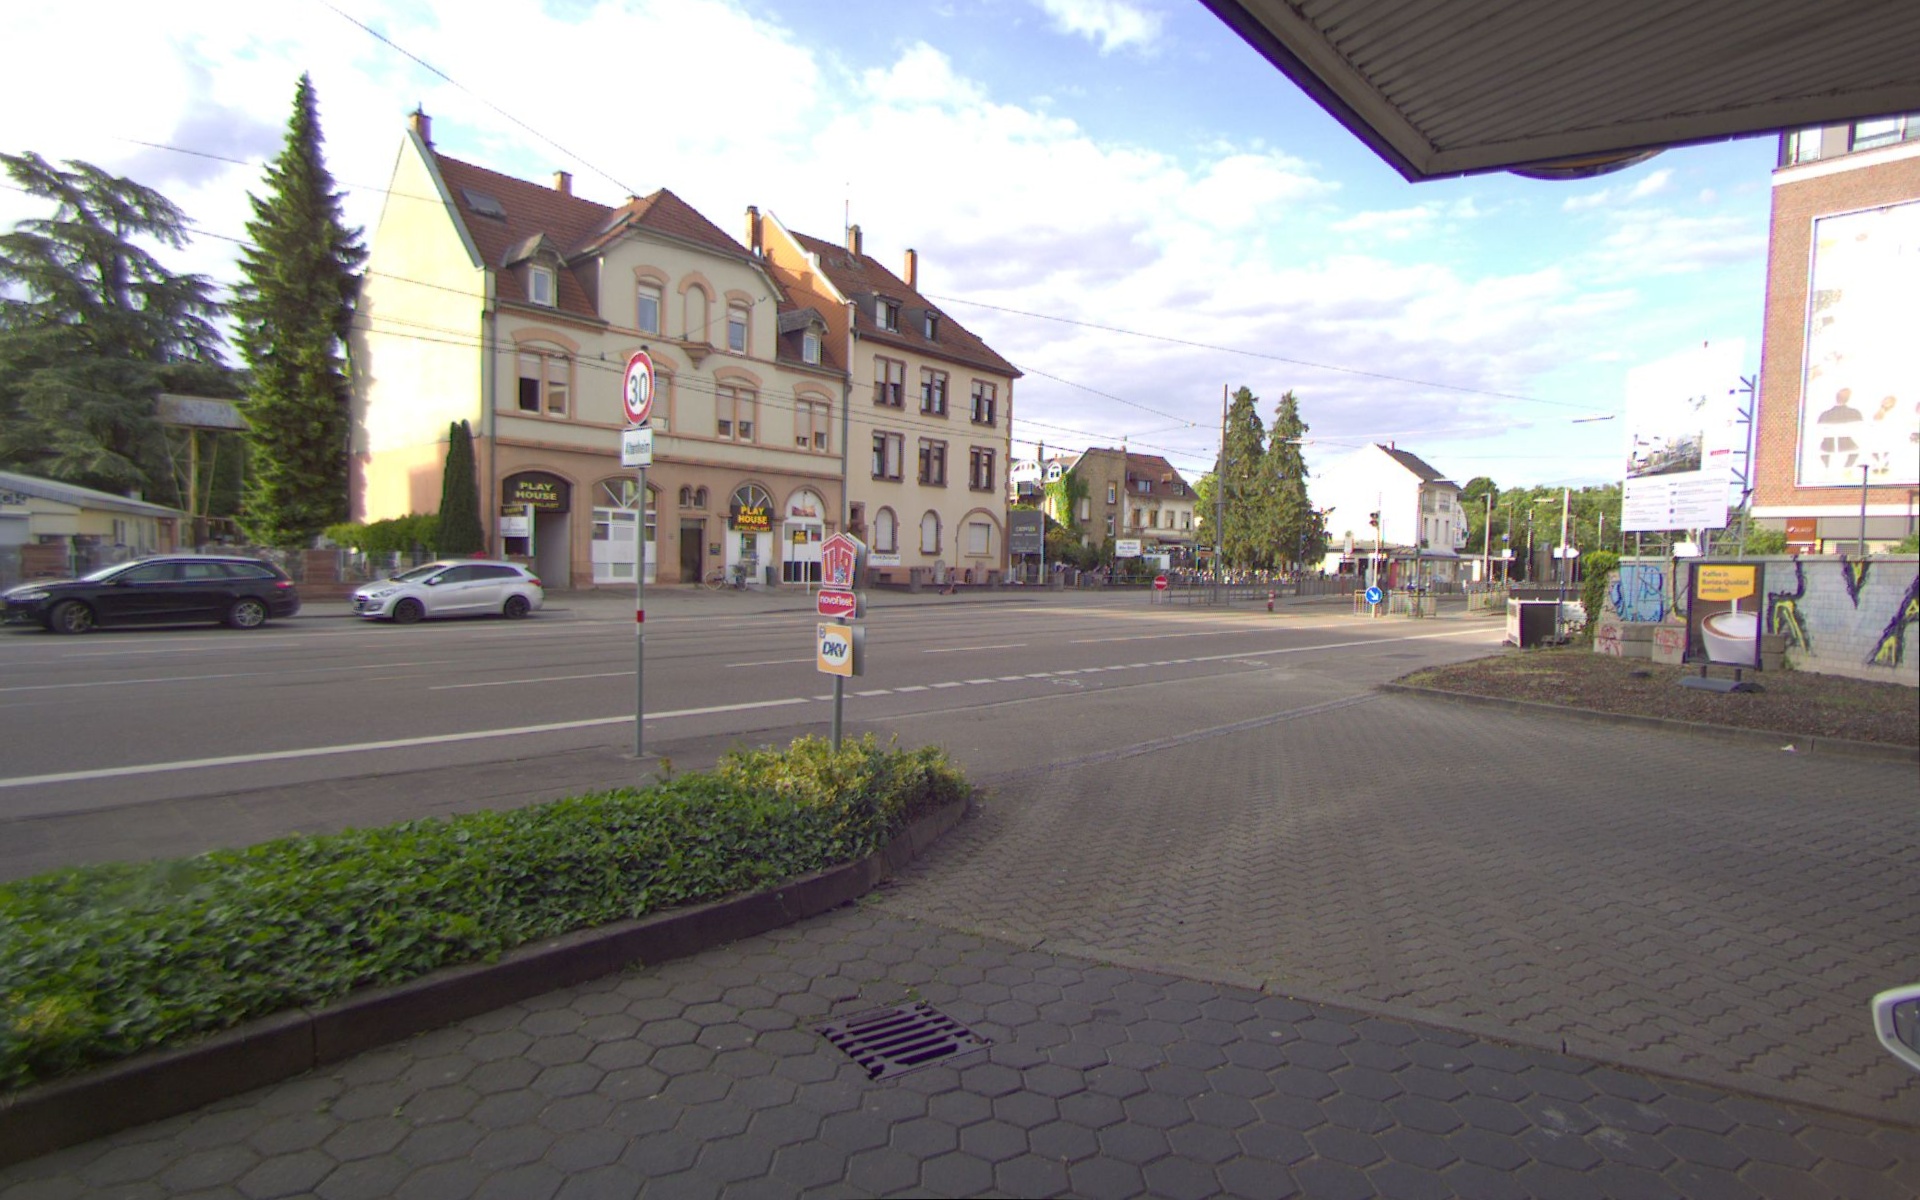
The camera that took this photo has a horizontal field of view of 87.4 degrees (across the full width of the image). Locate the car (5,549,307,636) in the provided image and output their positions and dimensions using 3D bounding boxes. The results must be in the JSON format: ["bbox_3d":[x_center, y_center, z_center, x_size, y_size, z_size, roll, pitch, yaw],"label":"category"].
[{"bbox_3d":[-16.493,-0.176,20.818,1.827,1.542,4.642,5,4,40],"label":"car"}]

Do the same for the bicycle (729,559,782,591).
[{"bbox_3d":[-8.254,-1.004,40.628,0.741,1.219,2.011,8,5,41],"label":"bicycle"}]

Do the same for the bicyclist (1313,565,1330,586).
[{"bbox_3d":[26.252,-1.793,72.994,0.915,1.428,0.742,-1,7,-45],"label":"bicyclist"}]

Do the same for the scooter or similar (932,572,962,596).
[{"bbox_3d":[-0.573,-0.717,45.094,0.437,1.006,1.460,6,5,41],"label":"scooter or similar"}]

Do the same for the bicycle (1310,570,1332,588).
[{"bbox_3d":[26.218,-1.509,72.980,1.809,1.219,0.742,-1,7,-45],"label":"bicycle"}]

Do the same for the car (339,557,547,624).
[{"bbox_3d":[-12.935,-0.252,25.356,1.718,1.502,4.357,3,2,41],"label":"car"}]
